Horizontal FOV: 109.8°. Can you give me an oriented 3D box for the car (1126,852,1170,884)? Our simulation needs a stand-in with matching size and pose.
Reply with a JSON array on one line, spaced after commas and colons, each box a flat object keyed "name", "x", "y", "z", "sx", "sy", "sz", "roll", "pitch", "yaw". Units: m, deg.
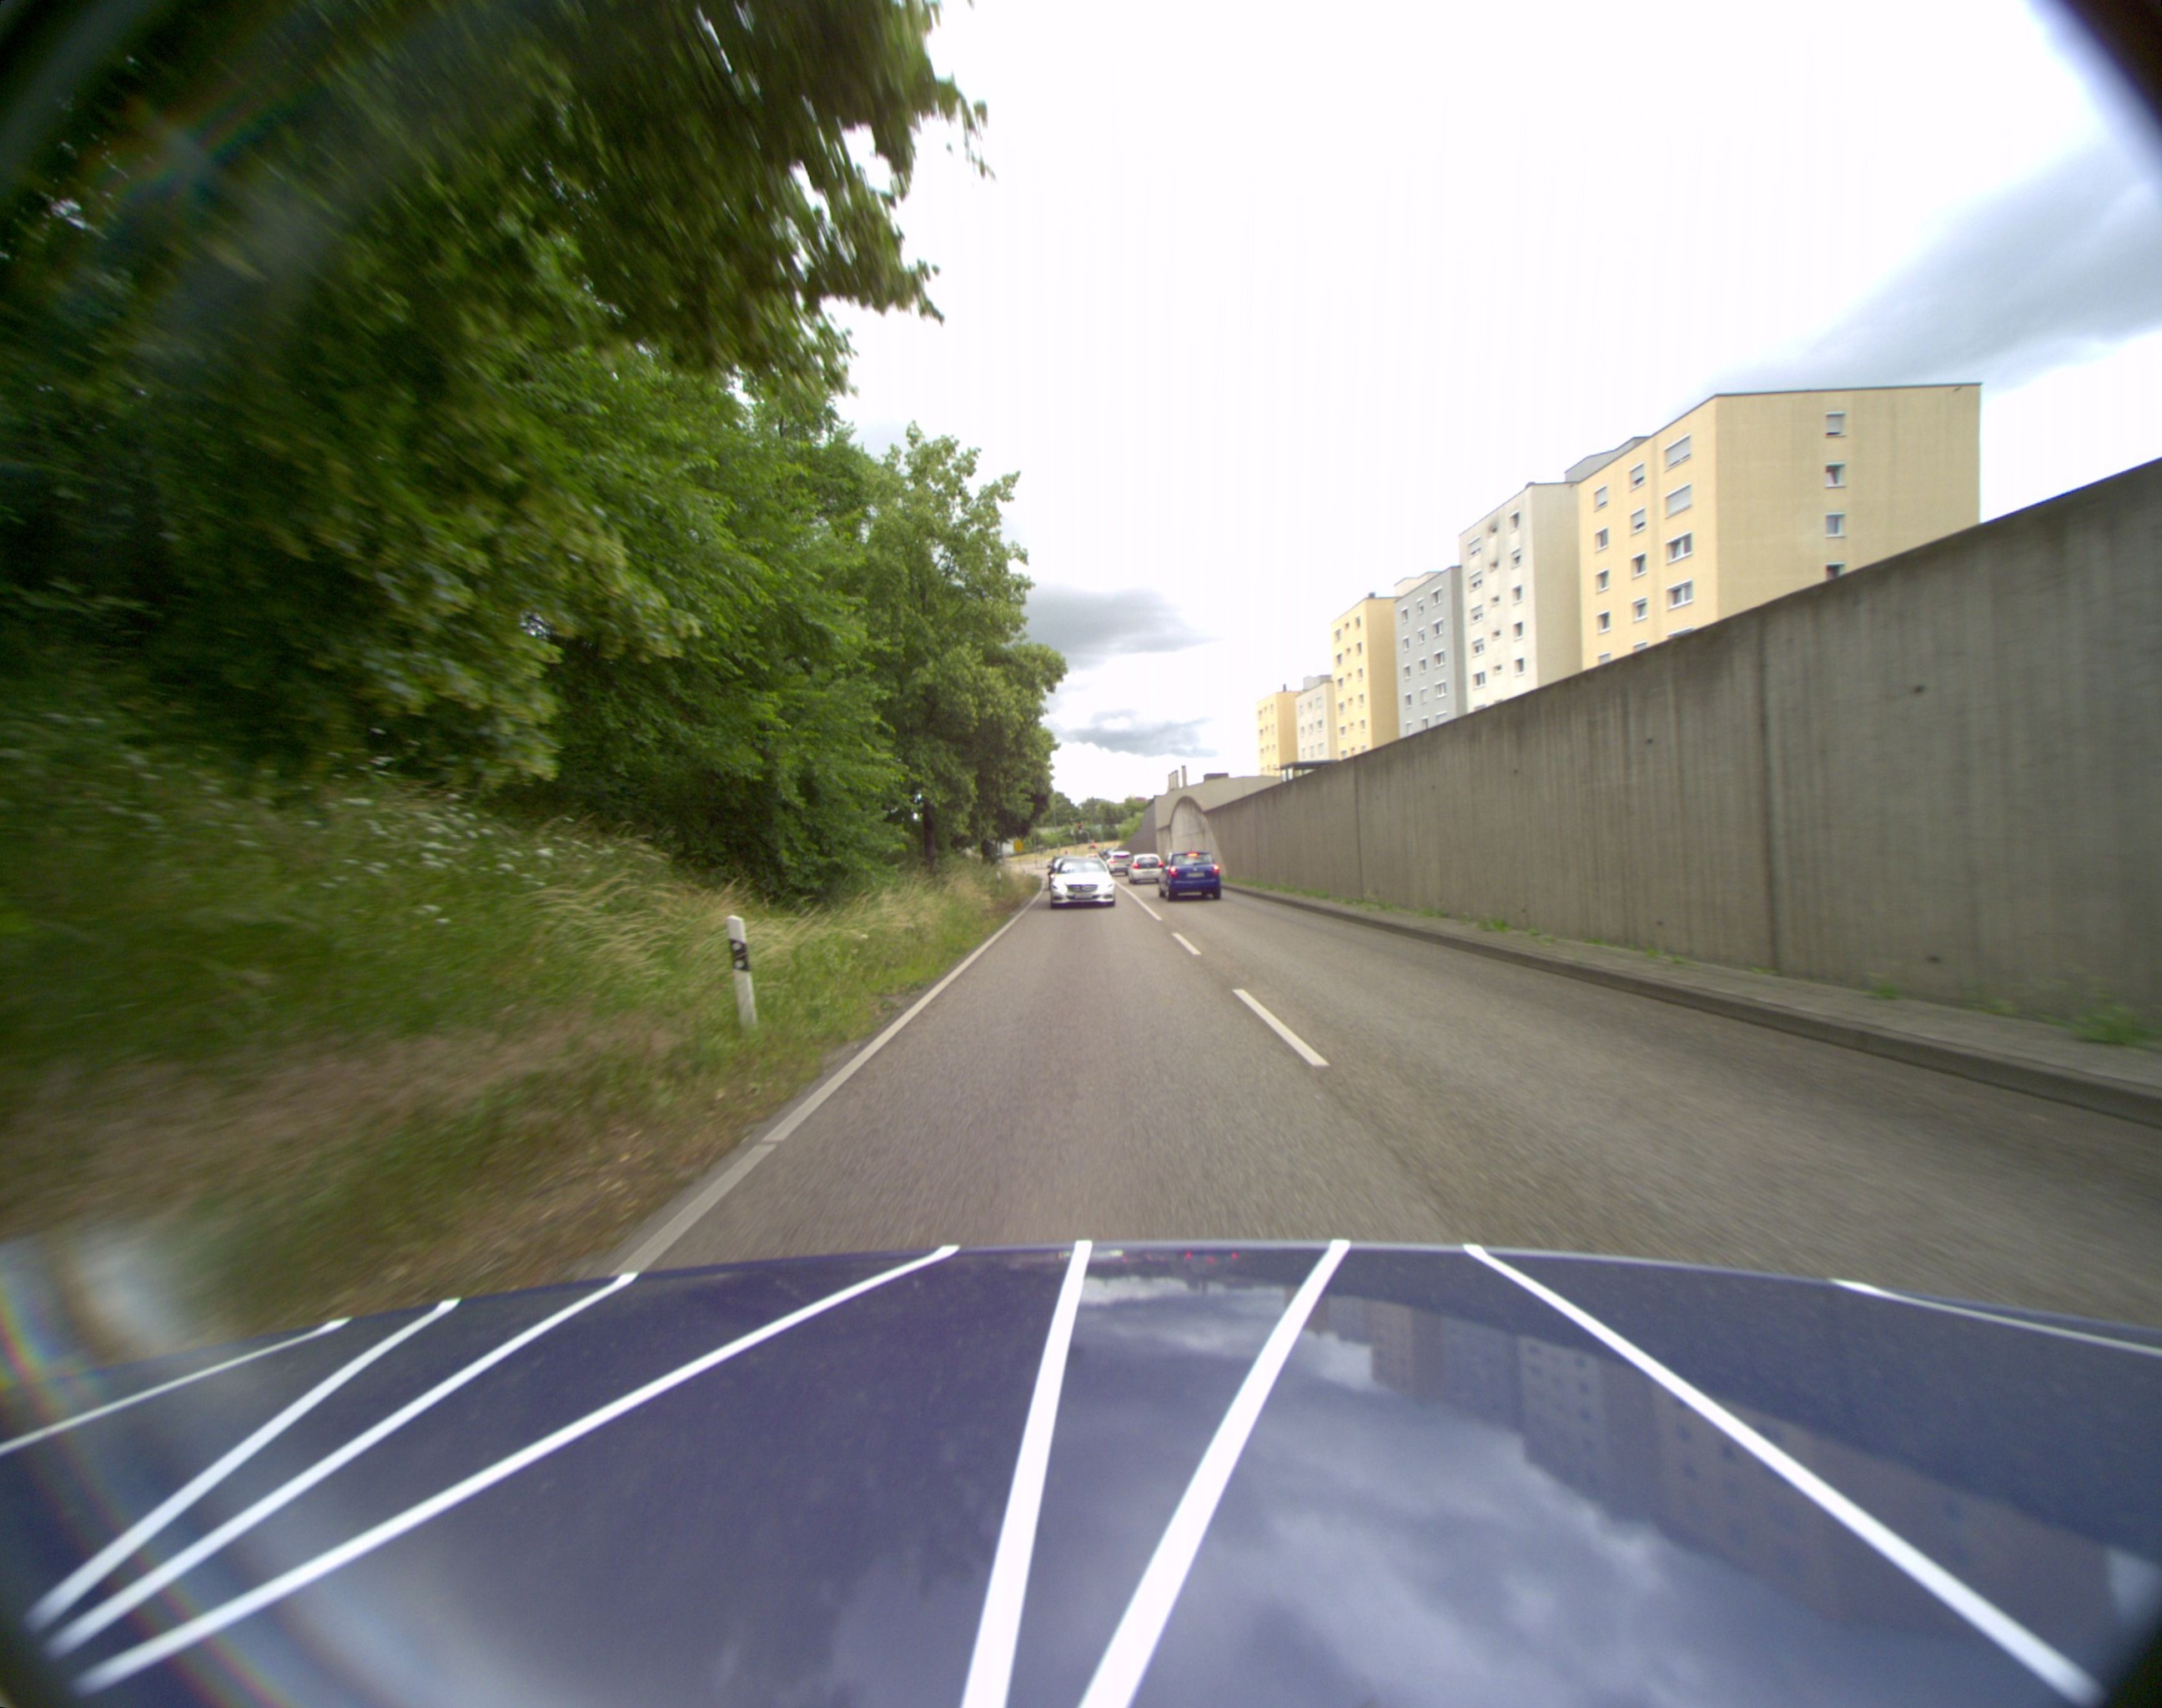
[{"name": "car", "x": 3.403, "y": 0.695, "z": 39.277, "sx": 1.920, "sy": 1.487, "sz": 4.208, "roll": -3, "pitch": 0, "yaw": 2}]

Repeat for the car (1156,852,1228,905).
[{"name": "car", "x": 3.483, "y": 0.715, "z": 24.497, "sx": 1.772, "sy": 1.487, "sz": 4.208, "roll": -3, "pitch": 0, "yaw": 2}]

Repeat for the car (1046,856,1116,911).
[{"name": "car", "x": 0.057, "y": 0.835, "z": 23.364, "sx": 1.905, "sy": 1.471, "sz": 4.094, "roll": -2, "pitch": 0, "yaw": 1}]

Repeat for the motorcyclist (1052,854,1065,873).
[{"name": "motorcyclist", "x": -1.999, "y": 0.844, "z": 66.483, "sx": 0.883, "sy": 1.596, "sz": 1.243, "roll": -6, "pitch": 2, "yaw": -5}]

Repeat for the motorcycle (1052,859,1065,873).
[{"name": "motorcycle", "x": -1.985, "y": 1.037, "z": 66.427, "sx": 0.883, "sy": 1.098, "sz": 2.359, "roll": -6, "pitch": 1, "yaw": -5}]

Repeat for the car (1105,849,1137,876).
[{"name": "car", "x": 2.710, "y": 0.560, "z": 52.377, "sx": 1.895, "sy": 1.623, "sz": 4.424, "roll": -3, "pitch": 2, "yaw": 0}]

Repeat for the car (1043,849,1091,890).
[{"name": "car", "x": -0.712, "y": 0.665, "z": 34.395, "sx": 1.759, "sy": 1.532, "sz": 3.997, "roll": -6, "pitch": 2, "yaw": -5}]

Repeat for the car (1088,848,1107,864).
[{"name": "car", "x": 1.786, "y": 0.209, "z": 84.900, "sx": 1.867, "sy": 1.622, "sz": 4.207, "roll": -3, "pitch": 0, "yaw": -2}]
